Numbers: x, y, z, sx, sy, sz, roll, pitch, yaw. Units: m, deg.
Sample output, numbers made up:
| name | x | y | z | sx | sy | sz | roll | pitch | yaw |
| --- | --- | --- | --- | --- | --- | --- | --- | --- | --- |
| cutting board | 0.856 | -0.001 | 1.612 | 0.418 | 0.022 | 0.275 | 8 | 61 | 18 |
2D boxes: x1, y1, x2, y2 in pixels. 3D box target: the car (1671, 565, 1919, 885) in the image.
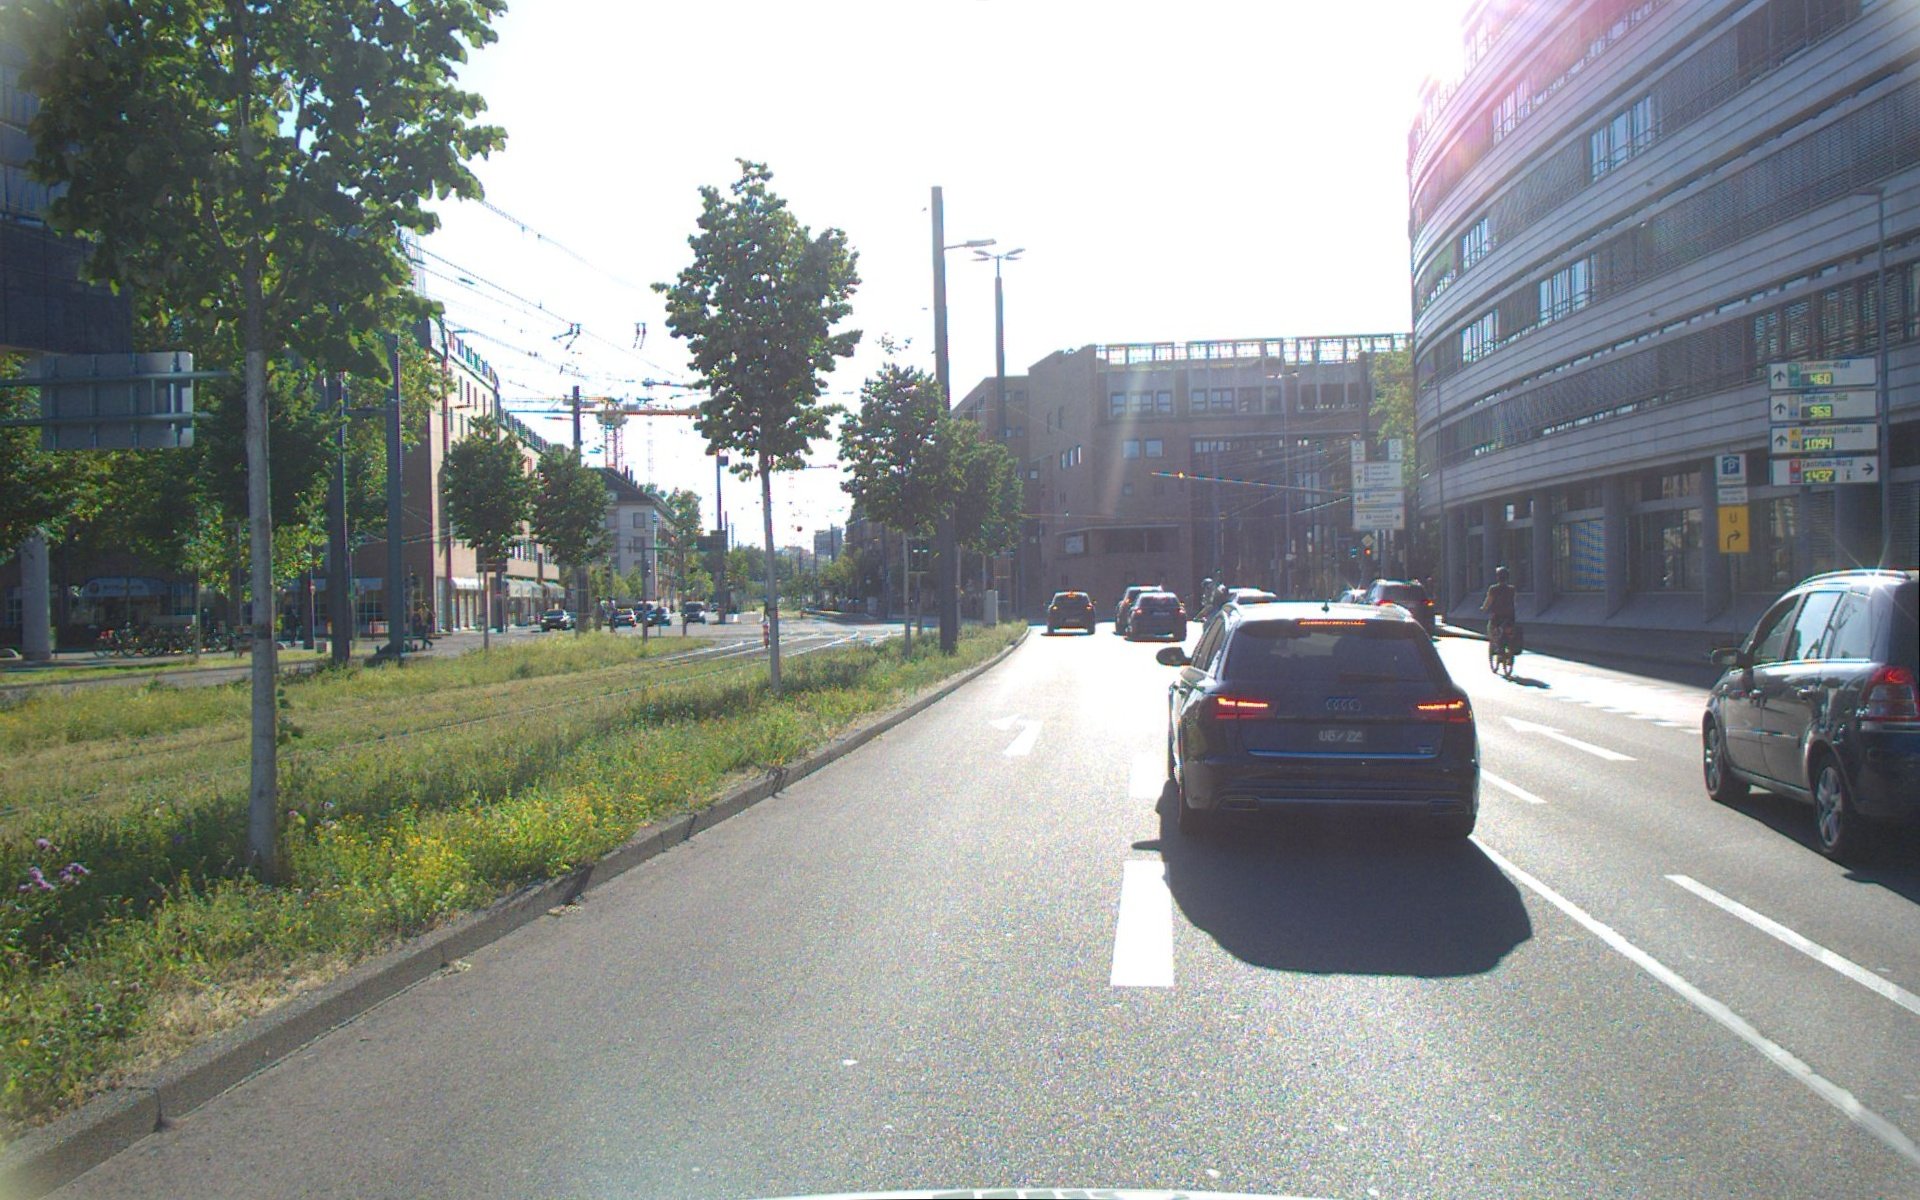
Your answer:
| name | x | y | z | sx | sy | sz | roll | pitch | yaw |
| --- | --- | --- | --- | --- | --- | --- | --- | --- | --- |
| car | 5.963 | 0.610 | 10.623 | 1.652 | 1.657 | 4.467 | -1 | 0 | 12 |

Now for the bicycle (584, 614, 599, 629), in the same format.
| name | x | y | z | sx | sy | sz | roll | pitch | yaw |
| --- | --- | --- | --- | --- | --- | --- | --- | --- | --- |
| bicycle | -28.552 | 1.632 | 128.258 | 0.637 | 1.104 | 2.925 | -2 | 0 | -3 |

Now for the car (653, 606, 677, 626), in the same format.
| name | x | y | z | sx | sy | sz | roll | pitch | yaw |
| --- | --- | --- | --- | --- | --- | --- | --- | --- | --- |
| car | -23.924 | 1.273 | 133.988 | 1.715 | 1.531 | 3.867 | -2 | 0 | -13 |

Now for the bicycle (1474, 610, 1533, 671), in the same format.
| name | x | y | z | sx | sy | sz | roll | pitch | yaw |
| --- | --- | --- | --- | --- | --- | --- | --- | --- | --- |
| bicycle | 9.816 | 0.715 | 29.945 | 0.481 | 1.015 | 2.329 | -2 | 0 | 5 |

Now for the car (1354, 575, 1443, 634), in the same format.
| name | x | y | z | sx | sy | sz | roll | pitch | yaw |
| --- | --- | --- | --- | --- | --- | --- | --- | --- | --- |
| car | 14.117 | 0.127 | 53.477 | 1.952 | 1.780 | 4.331 | -2 | 0 | 4 |

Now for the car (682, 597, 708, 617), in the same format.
| name | x | y | z | sx | sy | sz | roll | pitch | yaw |
| --- | --- | --- | --- | --- | --- | --- | --- | --- | --- |
| car | -21.329 | 0.537 | 132.997 | 1.715 | 1.531 | 3.867 | -2 | 0 | -13 |

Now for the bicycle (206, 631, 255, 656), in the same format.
| name | x | y | z | sx | sy | sz | roll | pitch | yaw |
| --- | --- | --- | --- | --- | --- | --- | --- | --- | --- |
| bicycle | -30.160 | 1.814 | 68.410 | 1.730 | 0.968 | 0.541 | -2 | 0 | -3 |

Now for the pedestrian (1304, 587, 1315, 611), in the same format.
| name | x | y | z | sx | sy | sz | roll | pitch | yaw |
| --- | --- | --- | --- | --- | --- | --- | --- | --- | --- |
| pedestrian | 21.273 | -0.074 | 100.722 | 0.518 | 1.455 | 0.598 | -2 | 0 | 4 |

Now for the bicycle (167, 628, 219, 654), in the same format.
| name | x | y | z | sx | sy | sz | roll | pitch | yaw |
| --- | --- | --- | --- | --- | --- | --- | --- | --- | --- |
| bicycle | -30.326 | 1.629 | 65.413 | 1.734 | 0.968 | 0.540 | -2 | 0 | -11 |

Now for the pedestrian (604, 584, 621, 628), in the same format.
| name | x | y | z | sx | sy | sz | roll | pitch | yaw |
| --- | --- | --- | --- | --- | --- | --- | --- | --- | --- |
| pedestrian | -14.496 | 0.249 | 69.065 | 0.551 | 1.849 | 0.662 | -2 | 0 | -2 |

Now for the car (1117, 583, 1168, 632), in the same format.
| name | x | y | z | sx | sy | sz | roll | pitch | yaw |
| --- | --- | --- | --- | --- | --- | --- | --- | --- | --- |
| car | 6.630 | 0.258 | 60.288 | 1.700 | 1.680 | 4.003 | -1 | 0 | 5 |

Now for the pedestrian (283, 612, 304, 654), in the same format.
| name | x | y | z | sx | sy | sz | roll | pitch | yaw |
| --- | --- | --- | --- | --- | --- | --- | --- | --- | --- |
| pedestrian | -32.584 | 1.604 | 80.848 | 0.652 | 2.049 | 0.678 | -2 | 0 | 5 |

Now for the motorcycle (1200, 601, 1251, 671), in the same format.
| name | x | y | z | sx | sy | sz | roll | pitch | yaw |
| --- | --- | --- | --- | --- | --- | --- | --- | --- | --- |
| motorcycle | 4.626 | 0.605 | 28.899 | 0.759 | 1.135 | 1.971 | -2 | 0 | 7 |

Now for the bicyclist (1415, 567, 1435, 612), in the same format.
| name | x | y | z | sx | sy | sz | roll | pitch | yaw |
| --- | --- | --- | --- | --- | --- | --- | --- | --- | --- |
| bicyclist | 17.381 | -0.387 | 61.851 | 0.669 | 1.646 | 0.992 | -2 | 0 | 15 |

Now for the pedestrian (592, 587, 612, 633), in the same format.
| name | x | y | z | sx | sy | sz | roll | pitch | yaw |
| --- | --- | --- | --- | --- | --- | --- | --- | --- | --- |
| pedestrian | -14.701 | 0.402 | 67.931 | 0.619 | 1.862 | 0.662 | -2 | 0 | -2 |

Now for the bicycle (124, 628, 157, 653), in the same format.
| name | x | y | z | sx | sy | sz | roll | pitch | yaw |
| --- | --- | --- | --- | --- | --- | --- | --- | --- | --- |
| bicycle | -32.431 | 1.609 | 65.453 | 1.739 | 0.968 | 0.538 | -1 | 0 | 41 |

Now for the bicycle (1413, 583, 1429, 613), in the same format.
| name | x | y | z | sx | sy | sz | roll | pitch | yaw |
| --- | --- | --- | --- | --- | --- | --- | --- | --- | --- |
| bicycle | 17.207 | -0.099 | 61.781 | 0.493 | 1.076 | 1.703 | -4 | -1 | 16 |

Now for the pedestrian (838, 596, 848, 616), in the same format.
| name | x | y | z | sx | sy | sz | roll | pitch | yaw |
| --- | --- | --- | --- | --- | --- | --- | --- | --- | --- |
| pedestrian | -9.951 | 0.546 | 140.160 | 0.728 | 1.669 | 0.766 | -2 | 0 | -9 |

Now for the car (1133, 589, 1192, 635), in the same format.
| name | x | y | z | sx | sy | sz | roll | pitch | yaw |
| --- | --- | --- | --- | --- | --- | --- | --- | --- | --- |
| car | 6.434 | 0.347 | 52.863 | 1.700 | 1.373 | 4.003 | -1 | 0 | 5 |

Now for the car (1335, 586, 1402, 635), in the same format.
| name | x | y | z | sx | sy | sz | roll | pitch | yaw |
| --- | --- | --- | --- | --- | --- | --- | --- | --- | --- |
| car | 14.803 | 0.363 | 60.145 | 1.951 | 1.680 | 4.003 | -2 | 0 | 8 |

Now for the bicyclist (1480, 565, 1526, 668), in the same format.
| name | x | y | z | sx | sy | sz | roll | pitch | yaw |
| --- | --- | --- | --- | --- | --- | --- | --- | --- | --- |
| bicyclist | 9.796 | 0.289 | 29.852 | 0.565 | 1.822 | 0.864 | -2 | 0 | 5 |

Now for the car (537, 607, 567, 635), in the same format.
| name | x | y | z | sx | sy | sz | roll | pitch | yaw |
| --- | --- | --- | --- | --- | --- | --- | --- | --- | --- |
| car | -32.387 | 1.647 | 131.389 | 1.957 | 2.049 | 3.991 | -2 | 0 | -9 |

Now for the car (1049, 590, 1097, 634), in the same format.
| name | x | y | z | sx | sy | sz | roll | pitch | yaw |
| --- | --- | --- | --- | --- | --- | --- | --- | --- | --- |
| car | 4.088 | 0.401 | 59.274 | 1.614 | 1.458 | 4.002 | -1 | 0 | 5 |

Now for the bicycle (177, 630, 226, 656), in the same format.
| name | x | y | z | sx | sy | sz | roll | pitch | yaw |
| --- | --- | --- | --- | --- | --- | --- | --- | --- | --- |
| bicycle | -30.422 | 1.716 | 66.391 | 1.742 | 0.968 | 0.537 | -2 | 0 | -23 |

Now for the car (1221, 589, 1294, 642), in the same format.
| name | x | y | z | sx | sy | sz | roll | pitch | yaw |
| --- | --- | --- | --- | --- | --- | --- | --- | --- | --- |
| car | 8.831 | 0.426 | 49.333 | 1.769 | 1.482 | 4.003 | 0 | 0 | 5 |

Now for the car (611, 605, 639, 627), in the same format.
| name | x | y | z | sx | sy | sz | roll | pitch | yaw |
| --- | --- | --- | --- | --- | --- | --- | --- | --- | --- |
| car | -27.163 | 1.254 | 134.030 | 1.957 | 1.623 | 4.728 | -2 | 1 | -9 |

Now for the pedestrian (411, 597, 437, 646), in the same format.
| name | x | y | z | sx | sy | sz | roll | pitch | yaw |
| --- | --- | --- | --- | --- | --- | --- | --- | --- | --- |
| pedestrian | -22.576 | 0.912 | 69.675 | 0.717 | 2.049 | 0.838 | 0 | 0 | 8 |

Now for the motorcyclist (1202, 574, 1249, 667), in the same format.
| name | x | y | z | sx | sy | sz | roll | pitch | yaw |
| --- | --- | --- | --- | --- | --- | --- | --- | --- | --- |
| motorcyclist | 4.609 | 0.346 | 28.742 | 0.729 | 1.557 | 1.021 | -2 | 0 | 7 |

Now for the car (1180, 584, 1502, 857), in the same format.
| name | x | y | z | sx | sy | sz | roll | pitch | yaw |
| --- | --- | --- | --- | --- | --- | --- | --- | --- | --- |
| car | 2.471 | 0.653 | 11.563 | 1.772 | 1.518 | 4.500 | 0 | 0 | 8 |
